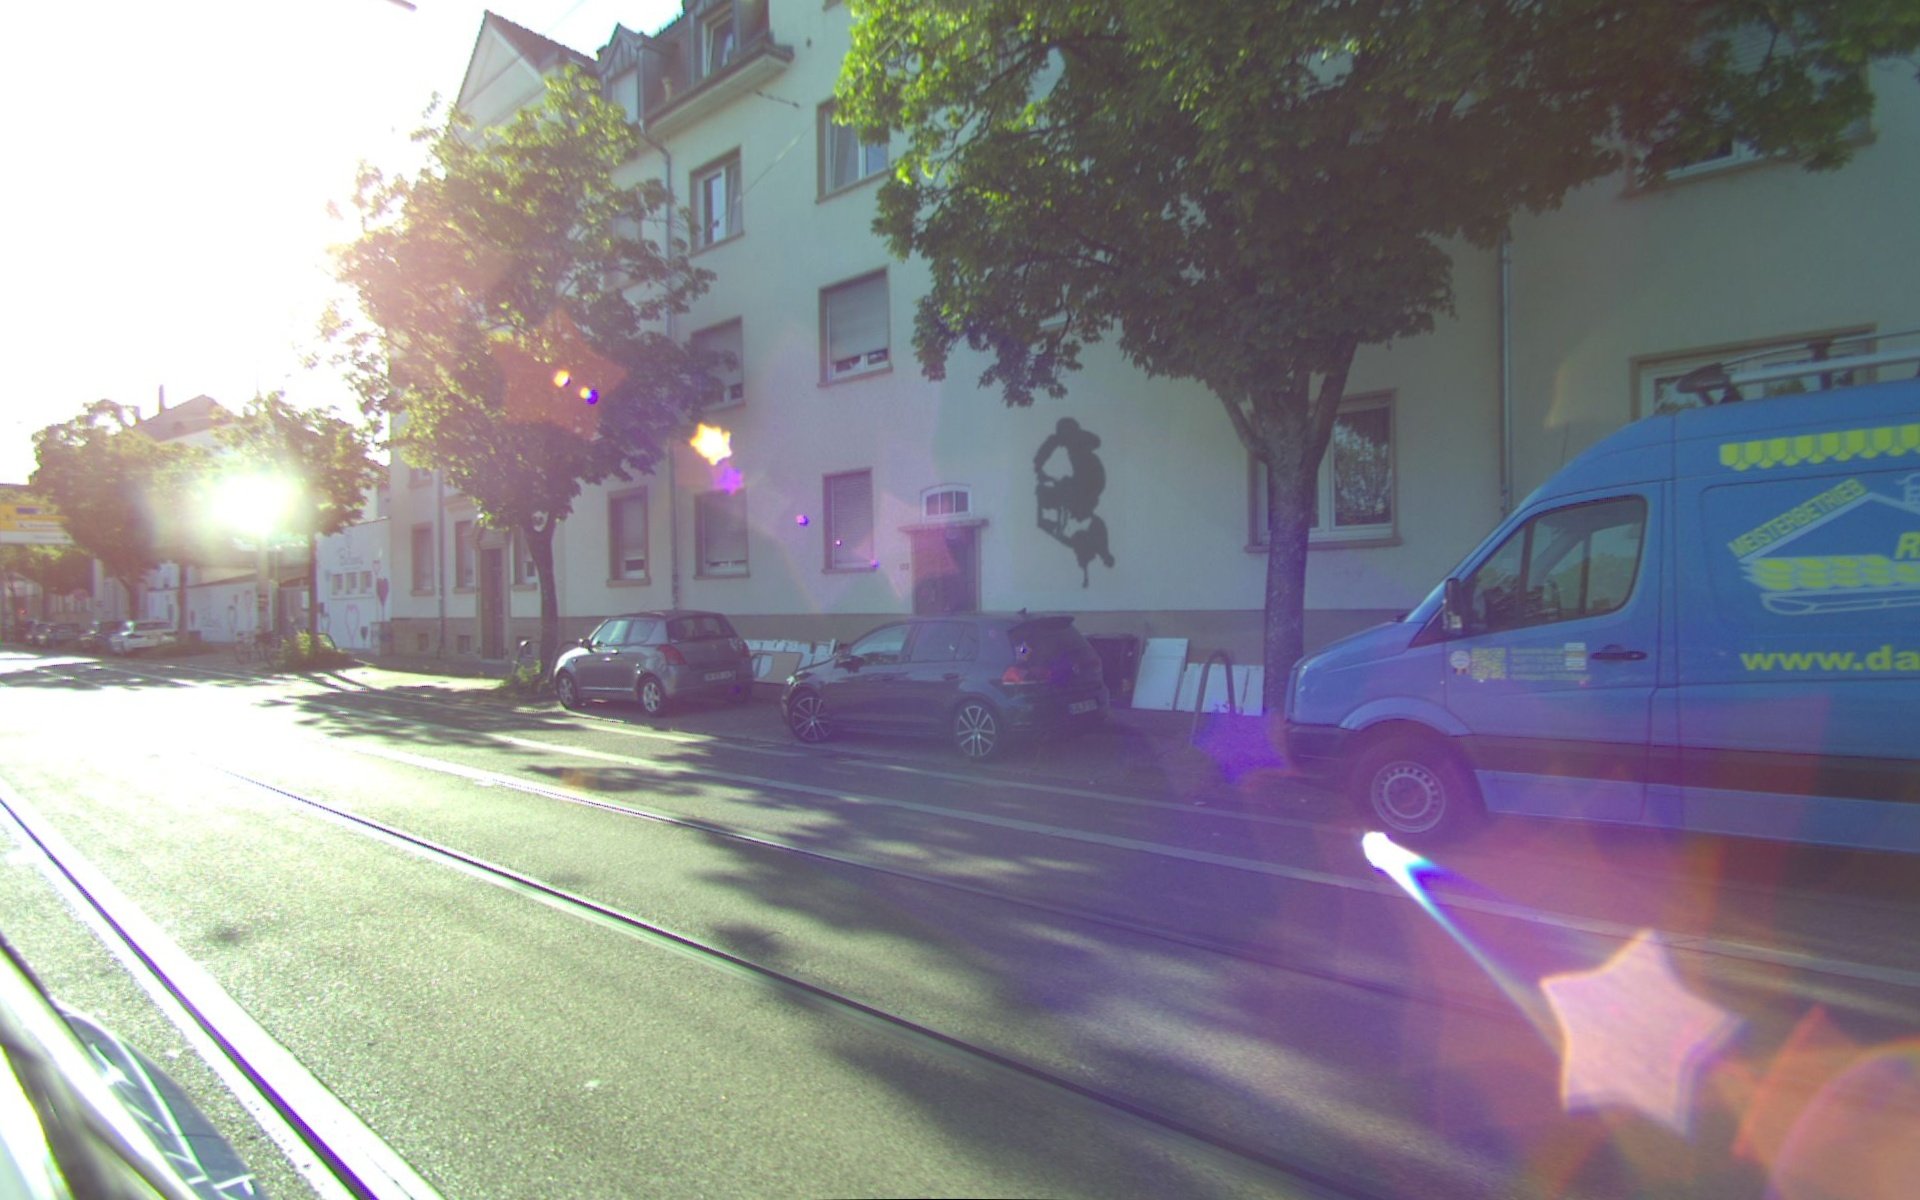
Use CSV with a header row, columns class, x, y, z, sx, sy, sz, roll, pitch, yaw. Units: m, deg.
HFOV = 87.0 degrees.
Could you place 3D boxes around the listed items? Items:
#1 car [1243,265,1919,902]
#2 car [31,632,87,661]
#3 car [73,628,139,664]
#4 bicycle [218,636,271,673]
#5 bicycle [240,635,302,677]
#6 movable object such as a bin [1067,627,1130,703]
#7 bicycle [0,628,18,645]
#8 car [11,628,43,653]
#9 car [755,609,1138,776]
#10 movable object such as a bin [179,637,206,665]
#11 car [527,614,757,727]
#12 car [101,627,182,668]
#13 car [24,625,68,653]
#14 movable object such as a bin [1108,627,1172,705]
class,x,y,z,sx,sy,sz,roll,pitch,yaw
car,4.794,-0.094,5.409,6.032,2.847,1.995,-1,1,43
car,-51.029,2.614,57.302,4.292,1.439,1.853,-1,1,42
car,-39.788,2.115,47.115,4.304,1.497,1.754,-1,1,42
bicycle,-22.457,1.696,31.782,0.658,1.047,1.791,-2,1,-11
bicycle,-19.804,1.587,29.135,0.524,1.047,1.989,-2,1,-4
movable object such as a bin,1.802,0.827,13.166,0.568,0.941,0.590,-2,-1,39
bicycle,-69.452,2.630,73.619,0.409,1.178,1.326,-1,1,42
car,-63.553,2.764,68.947,2.546,1.514,1.341,-5,-2,42
car,-0.301,0.866,11.097,4.189,1.435,1.634,-1,1,42
movable object such as a bin,-28.389,1.885,37.437,0.702,0.966,0.576,-1,5,42
car,-5.084,1.008,15.920,3.999,1.502,1.634,-1,1,42
car,-33.874,1.911,41.854,4.659,1.501,1.845,-1,1,42
car,-55.299,2.341,61.228,3.999,1.516,1.555,-1,1,42
movable object such as a bin,2.273,0.817,12.791,0.568,0.941,0.590,-2,-1,39
